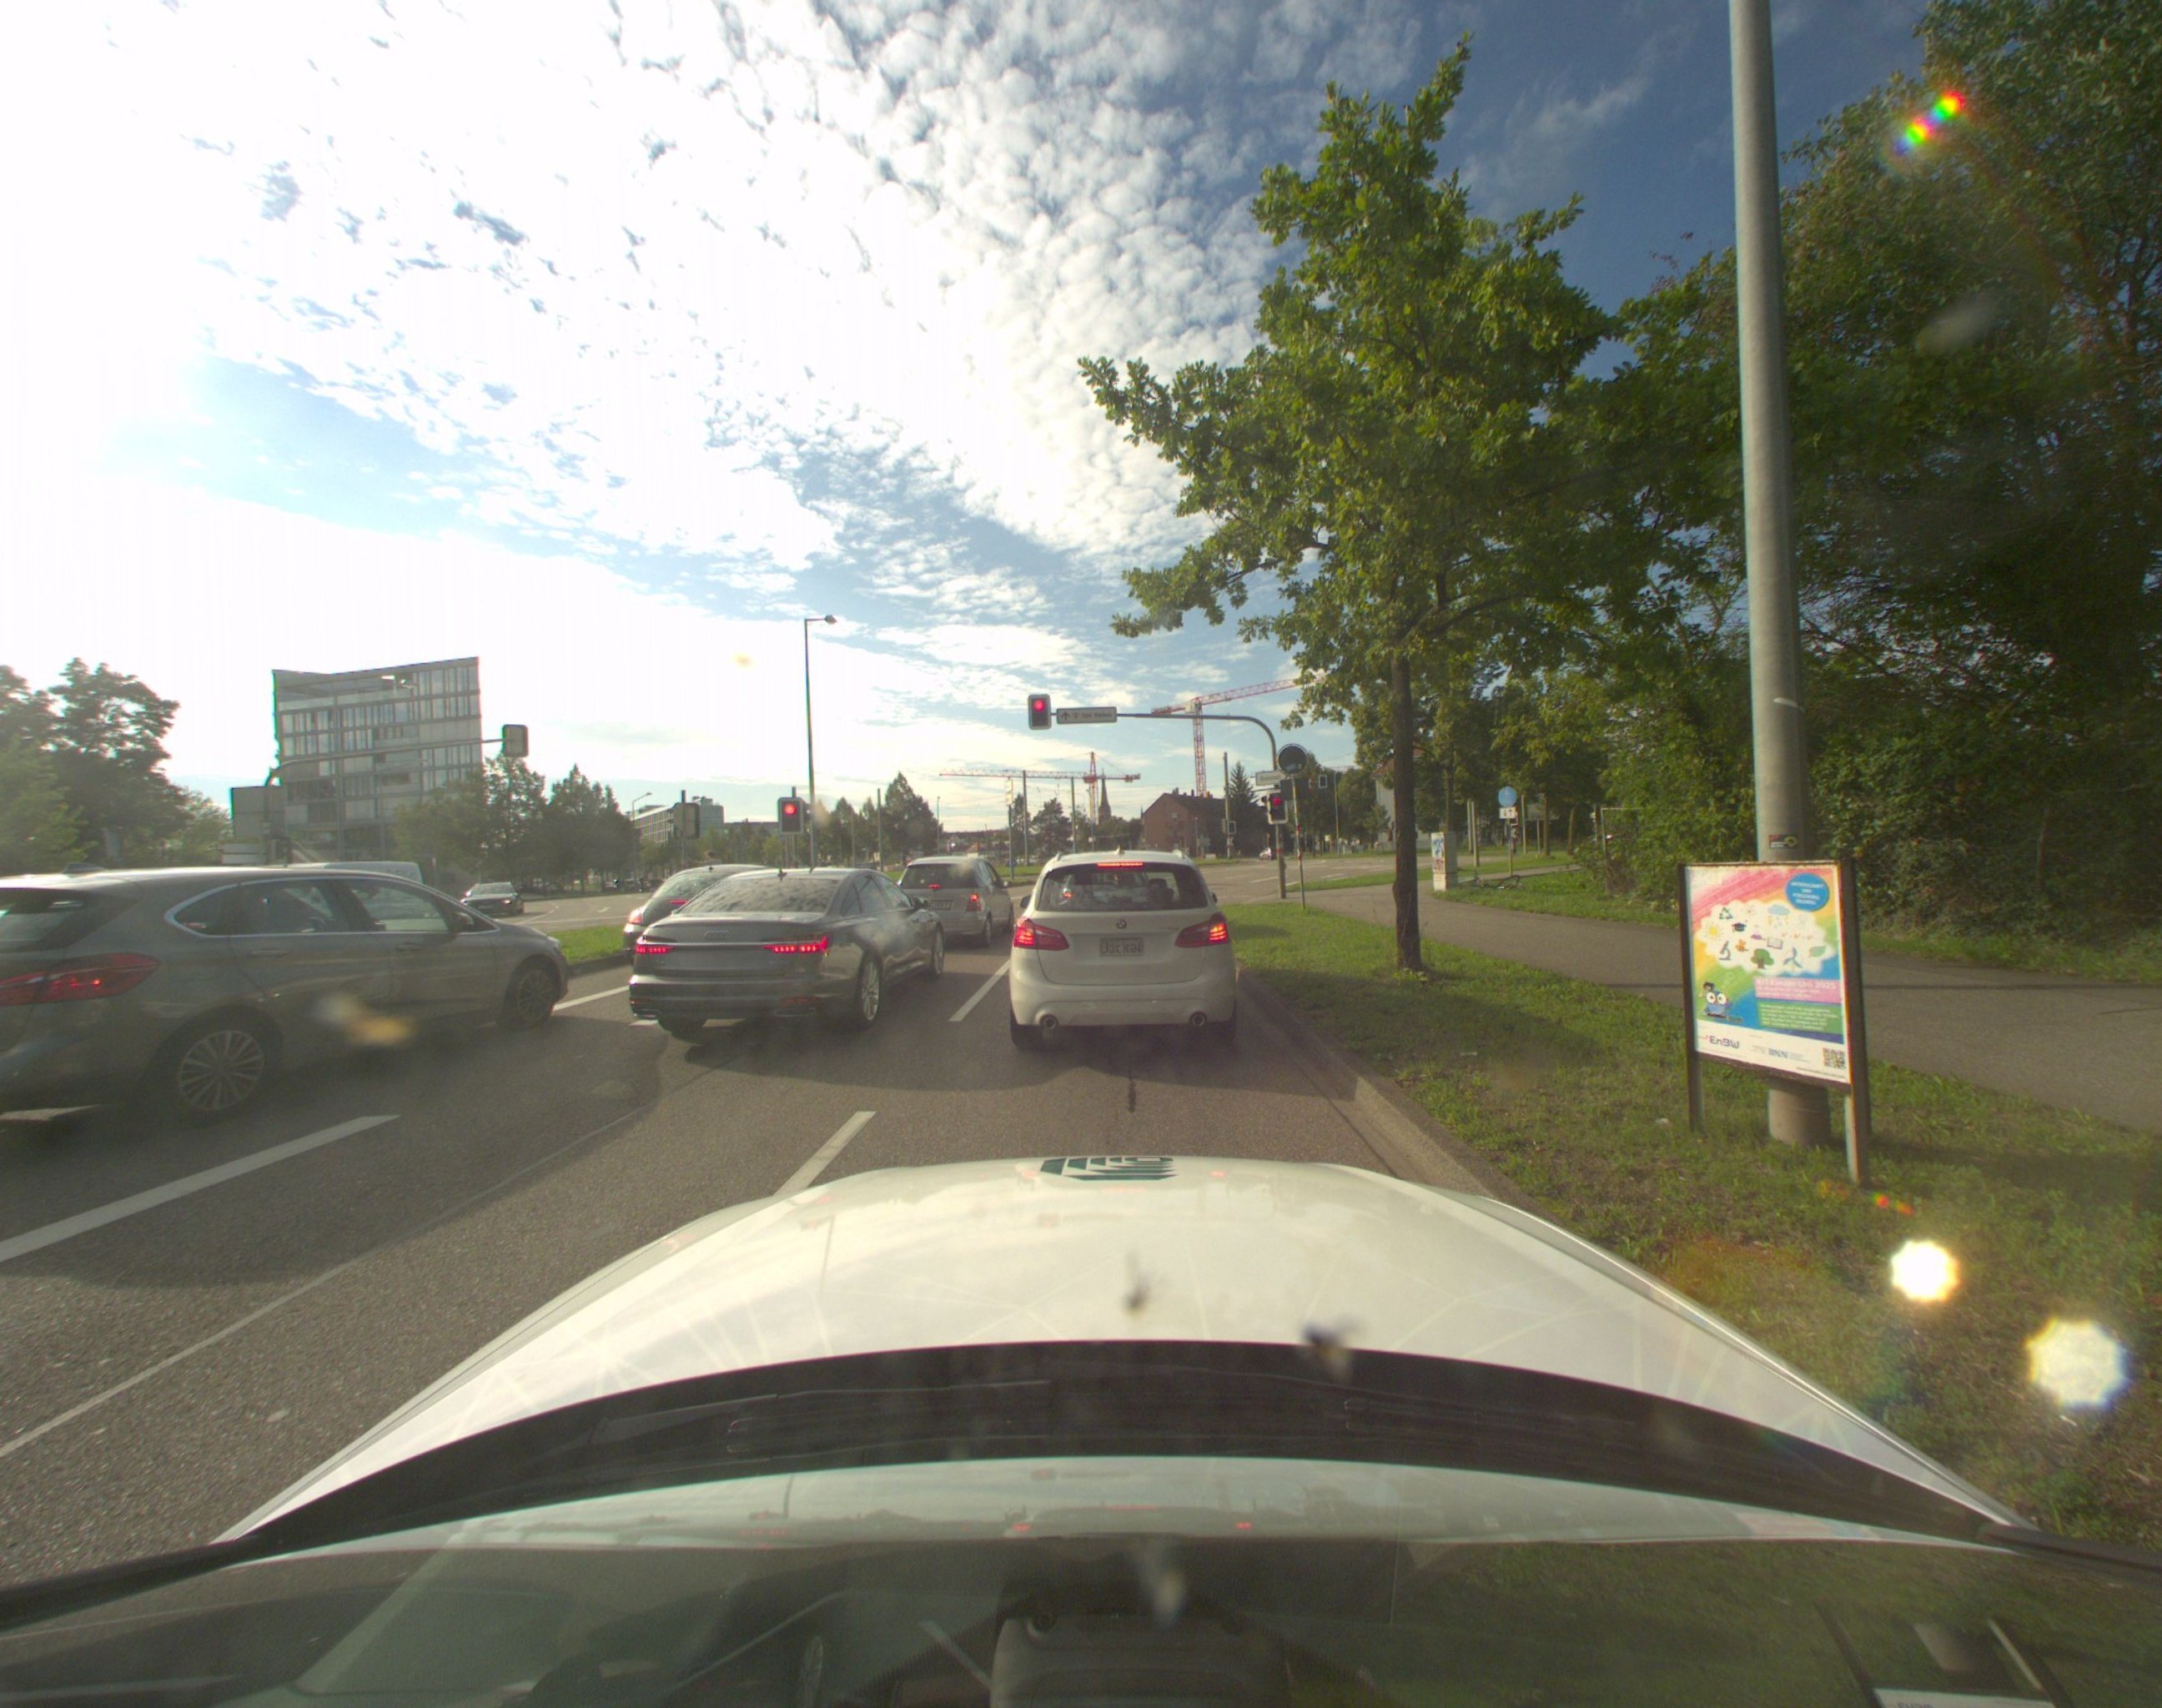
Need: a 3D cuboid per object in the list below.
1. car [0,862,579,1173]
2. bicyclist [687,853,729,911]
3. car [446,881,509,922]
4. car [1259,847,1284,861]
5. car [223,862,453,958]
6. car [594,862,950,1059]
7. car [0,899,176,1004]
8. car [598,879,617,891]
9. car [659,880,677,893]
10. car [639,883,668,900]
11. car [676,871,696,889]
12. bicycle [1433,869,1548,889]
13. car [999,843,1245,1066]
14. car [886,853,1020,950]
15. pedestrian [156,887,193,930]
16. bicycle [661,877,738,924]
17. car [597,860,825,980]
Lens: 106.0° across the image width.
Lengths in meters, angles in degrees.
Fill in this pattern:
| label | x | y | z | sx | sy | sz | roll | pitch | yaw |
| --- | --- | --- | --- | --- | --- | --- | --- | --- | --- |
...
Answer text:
| label | x | y | z | sx | sy | sz | roll | pitch | yaw |
| --- | --- | --- | --- | --- | --- | --- | --- | --- | --- |
| car | -6.009 | 0.878 | 6.209 | 1.722 | 1.558 | 4.021 | -1 | 0 | 2 |
| bicyclist | -10.111 | 0.750 | 22.115 | 0.850 | 1.526 | 0.737 | -3 | -1 | -15 |
| car | -24.827 | 1.897 | 33.604 | 1.923 | 1.433 | 4.181 | -4 | 1 | -35 |
| car | 22.048 | 0.025 | 94.217 | 1.571 | 1.574 | 3.185 | -3 | 0 | -11 |
| car | -20.681 | 1.435 | 23.150 | 1.995 | 2.235 | 5.899 | -4 | 0 | -12 |
| car | -2.783 | 0.854 | 8.649 | 1.883 | 1.483 | 4.614 | -1 | -1 | 2 |
| car | -16.492 | 1.527 | 11.802 | 1.894 | 1.410 | 4.208 | -5 | -1 | 1 |
| car | -72.732 | 4.836 | 125.033 | 1.723 | 1.691 | 3.951 | -2 | -1 | -42 |
| car | -47.468 | 3.712 | 93.581 | 1.600 | 1.415 | 3.640 | -3 | 0 | -24 |
| car | -45.271 | 3.916 | 86.305 | 1.790 | 1.575 | 3.978 | -3 | 0 | -16 |
| car | -38.734 | 2.546 | 79.923 | 1.715 | 1.574 | 3.966 | -3 | 0 | -25 |
| bicycle | 10.468 | 0.634 | 20.980 | 1.407 | 0.385 | 2.568 | -3 | 0 | -9 |
| car | 0.348 | 0.723 | 7.848 | 1.723 | 1.558 | 4.059 | -1 | 0 | 2 |
| car | -2.257 | 0.780 | 15.400 | 1.722 | 1.558 | 4.060 | -1 | 0 | 2 |
| pedestrian | -34.736 | 2.085 | 31.213 | 0.654 | 1.569 | 0.614 | -3 | -1 | -5 |
| bicycle | -10.307 | 1.236 | 22.054 | 1.728 | 1.163 | 0.652 | -2 | -1 | -15 |
| car | -5.451 | 0.874 | 12.587 | 1.674 | 1.523 | 3.811 | -1 | 0 | 1 |
